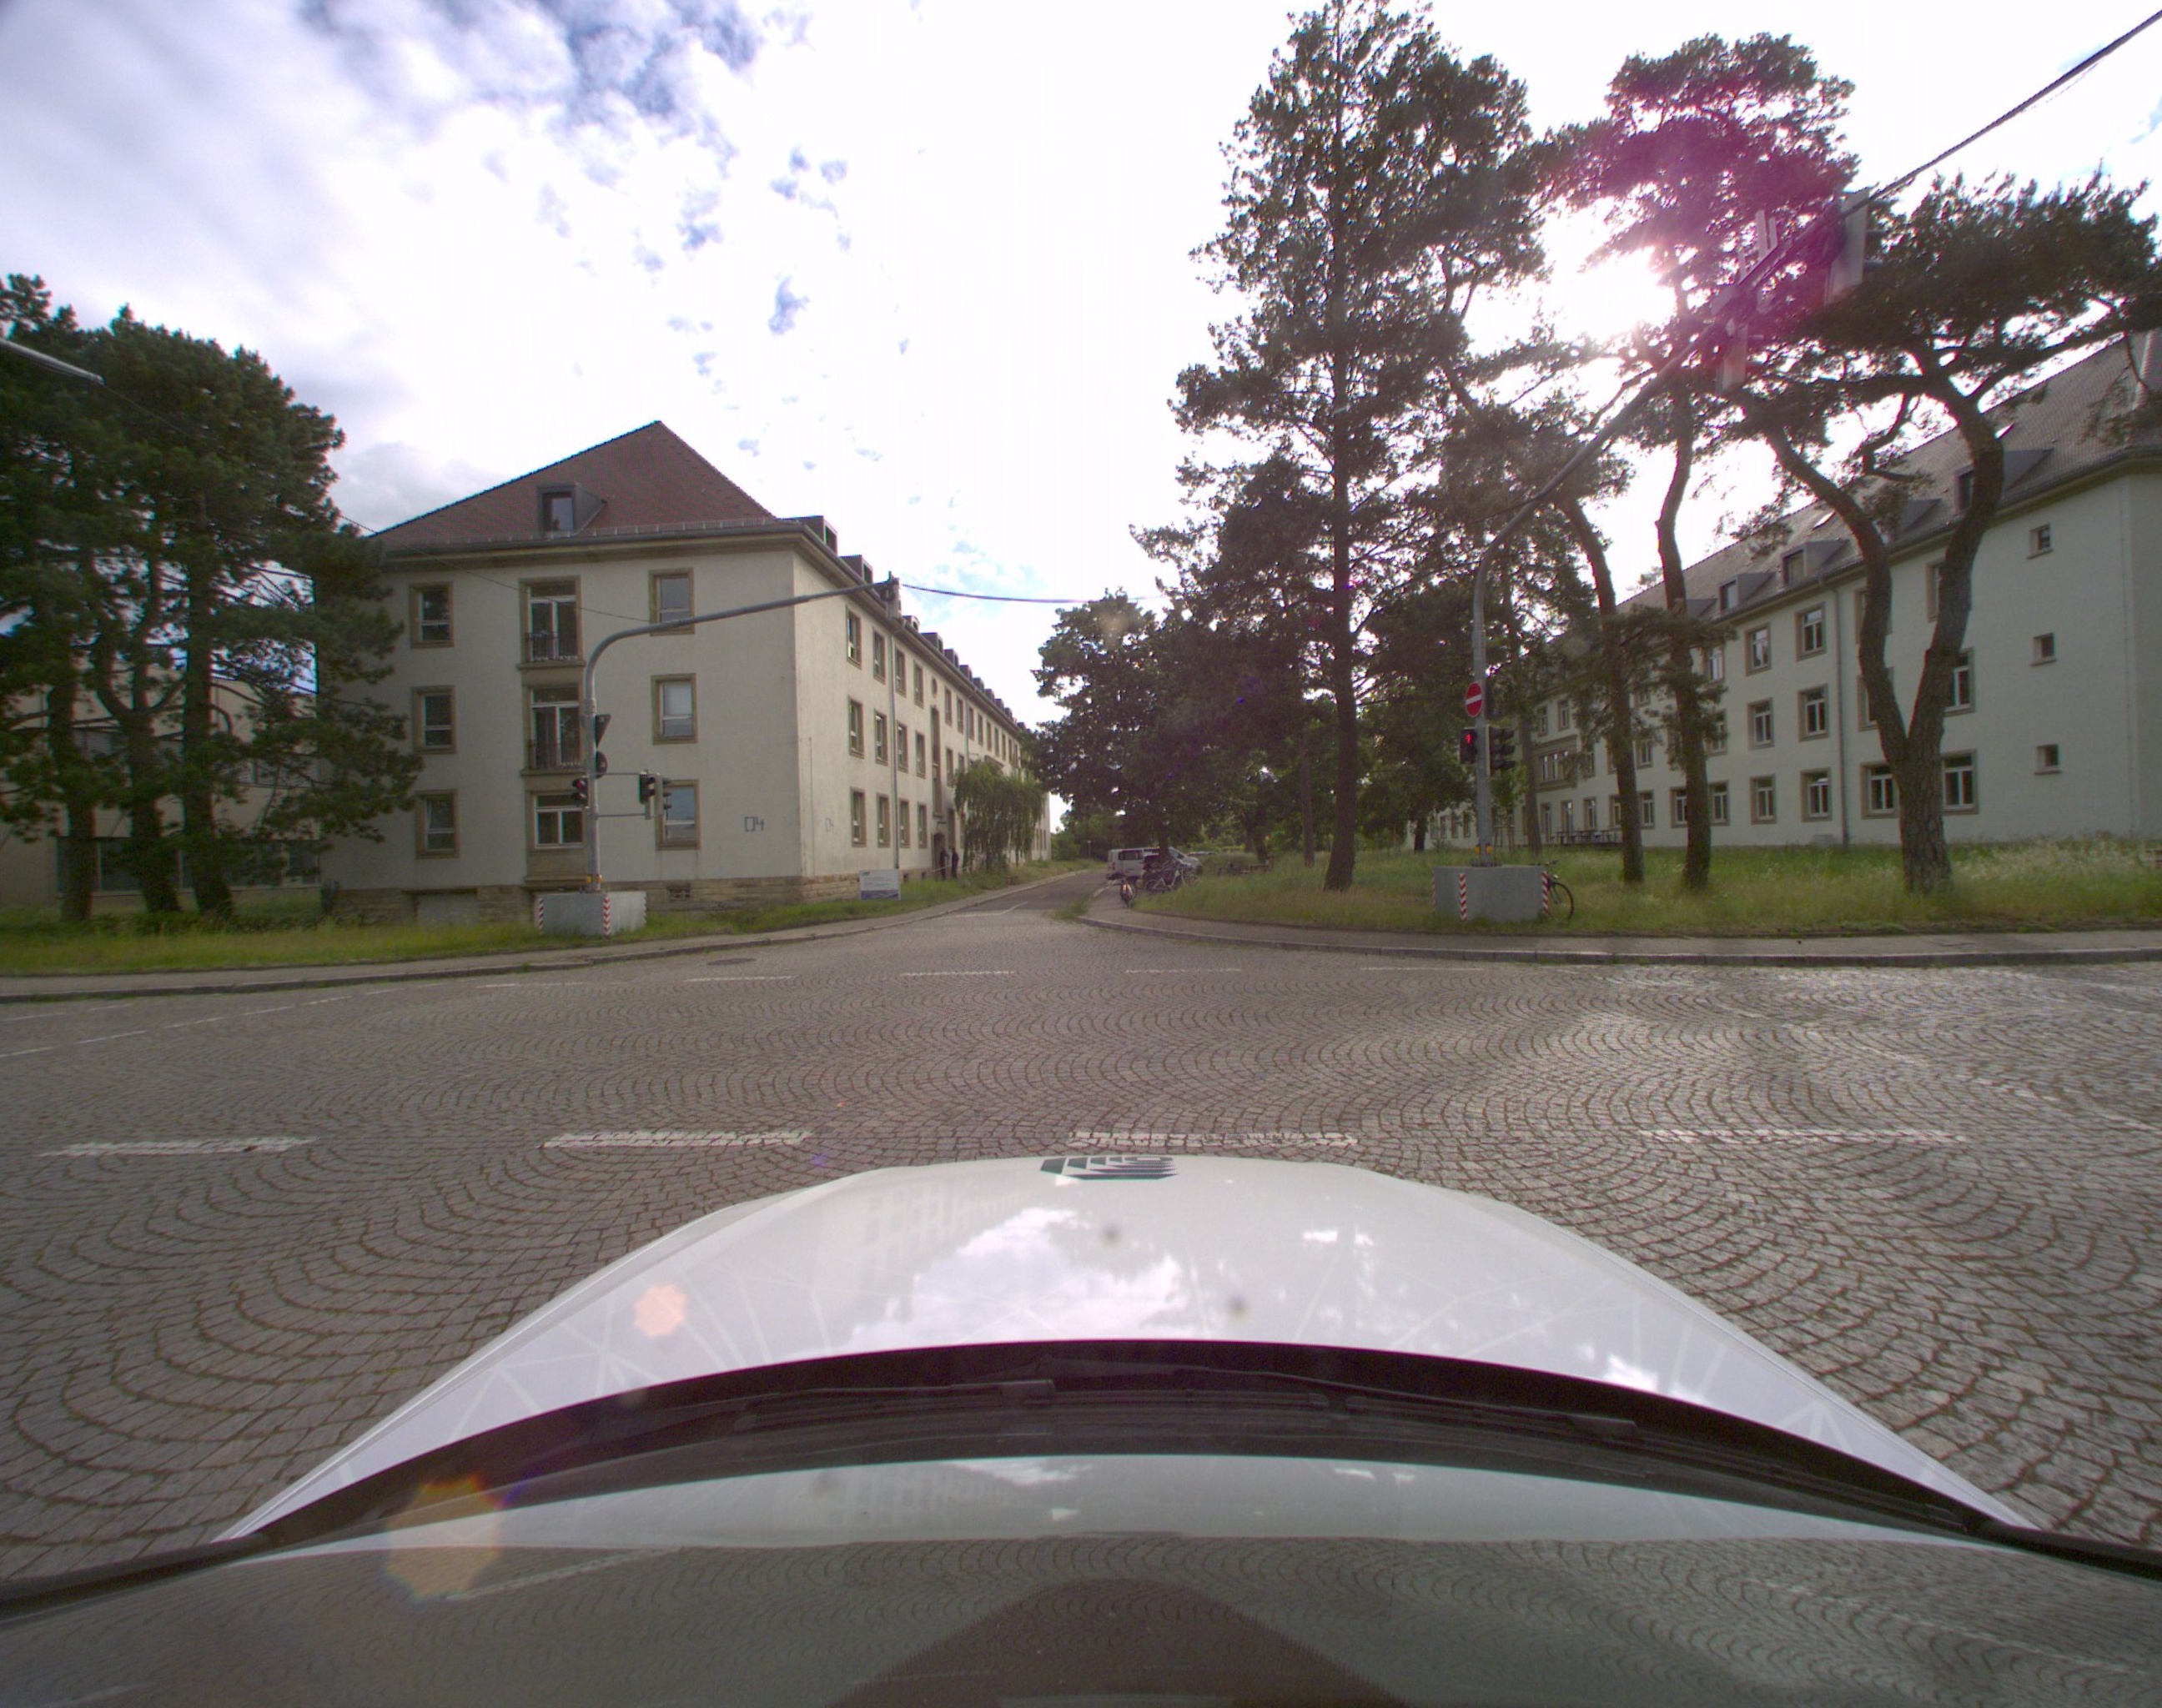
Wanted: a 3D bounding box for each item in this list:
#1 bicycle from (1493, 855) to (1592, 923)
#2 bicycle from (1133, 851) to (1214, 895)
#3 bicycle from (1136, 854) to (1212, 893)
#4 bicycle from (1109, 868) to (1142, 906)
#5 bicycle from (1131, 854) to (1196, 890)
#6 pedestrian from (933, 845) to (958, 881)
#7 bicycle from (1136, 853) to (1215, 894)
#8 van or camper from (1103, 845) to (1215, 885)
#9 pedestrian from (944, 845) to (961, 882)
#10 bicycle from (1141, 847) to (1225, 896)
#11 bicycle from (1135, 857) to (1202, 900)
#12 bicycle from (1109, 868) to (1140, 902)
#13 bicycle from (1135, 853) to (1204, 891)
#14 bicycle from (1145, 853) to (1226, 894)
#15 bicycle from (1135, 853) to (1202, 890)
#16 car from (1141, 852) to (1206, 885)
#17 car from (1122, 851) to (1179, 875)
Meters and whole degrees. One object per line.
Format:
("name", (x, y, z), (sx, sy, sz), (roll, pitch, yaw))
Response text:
("bicycle", (8.032, 0.574, 14.266), (0.642, 1.062, 1.834), (-5, 0, 2))
("bicycle", (3.093, 0.623, 27.365), (2.607, 1.367, 0.875), (-2, 0, 3))
("bicycle", (3.469, 0.714, 30.578), (2.790, 1.372, 0.951), (-2, 0, 3))
("bicycle", (1.295, 0.934, 23.484), (0.896, 0.996, 1.981), (-2, 0, 4))
("bicycle", (3.356, 0.709, 33.237), (2.557, 1.372, 0.951), (-2, 0, 3))
("pedestrian", (-7.035, 0.467, 42.307), (1.193, 1.870, 1.547), (0, -1, -6))
("bicycle", (3.428, 0.706, 29.684), (2.790, 1.372, 0.951), (-2, 0, 3))
("van or camper", (4.255, 0.583, 44.862), (5.738, 1.957, 2.231), (-2, 0, -8))
("pedestrian", (-6.854, 0.491, 43.379), (0.864, 1.932, 0.835), (0, -1, -7))
("bicycle", (3.505, 0.598, 28.210), (2.790, 1.583, 0.951), (-2, 0, 3))
("bicycle", (2.860, 0.796, 26.767), (2.104, 1.306, 0.875), (-2, 0, 3))
("bicycle", (1.386, 0.953, 25.577), (0.723, 0.996, 1.984), (-2, 0, 9))
("bicycle", (3.399, 0.694, 31.550), (2.557, 1.372, 0.951), (-2, 0, 3))
("bicycle", (3.710, 0.699, 29.129), (2.790, 1.372, 0.951), (-2, 0, 3))
("bicycle", (3.453, 0.701, 32.389), (2.557, 1.372, 0.951), (-2, 0, 3))
("car", (4.687, 0.730, 41.569), (3.211, 1.621, 1.939), (-1, -1, 3))
("car", (5.009, 0.636, 58.680), (3.972, 1.600, 1.704), (-2, 0, 2))
